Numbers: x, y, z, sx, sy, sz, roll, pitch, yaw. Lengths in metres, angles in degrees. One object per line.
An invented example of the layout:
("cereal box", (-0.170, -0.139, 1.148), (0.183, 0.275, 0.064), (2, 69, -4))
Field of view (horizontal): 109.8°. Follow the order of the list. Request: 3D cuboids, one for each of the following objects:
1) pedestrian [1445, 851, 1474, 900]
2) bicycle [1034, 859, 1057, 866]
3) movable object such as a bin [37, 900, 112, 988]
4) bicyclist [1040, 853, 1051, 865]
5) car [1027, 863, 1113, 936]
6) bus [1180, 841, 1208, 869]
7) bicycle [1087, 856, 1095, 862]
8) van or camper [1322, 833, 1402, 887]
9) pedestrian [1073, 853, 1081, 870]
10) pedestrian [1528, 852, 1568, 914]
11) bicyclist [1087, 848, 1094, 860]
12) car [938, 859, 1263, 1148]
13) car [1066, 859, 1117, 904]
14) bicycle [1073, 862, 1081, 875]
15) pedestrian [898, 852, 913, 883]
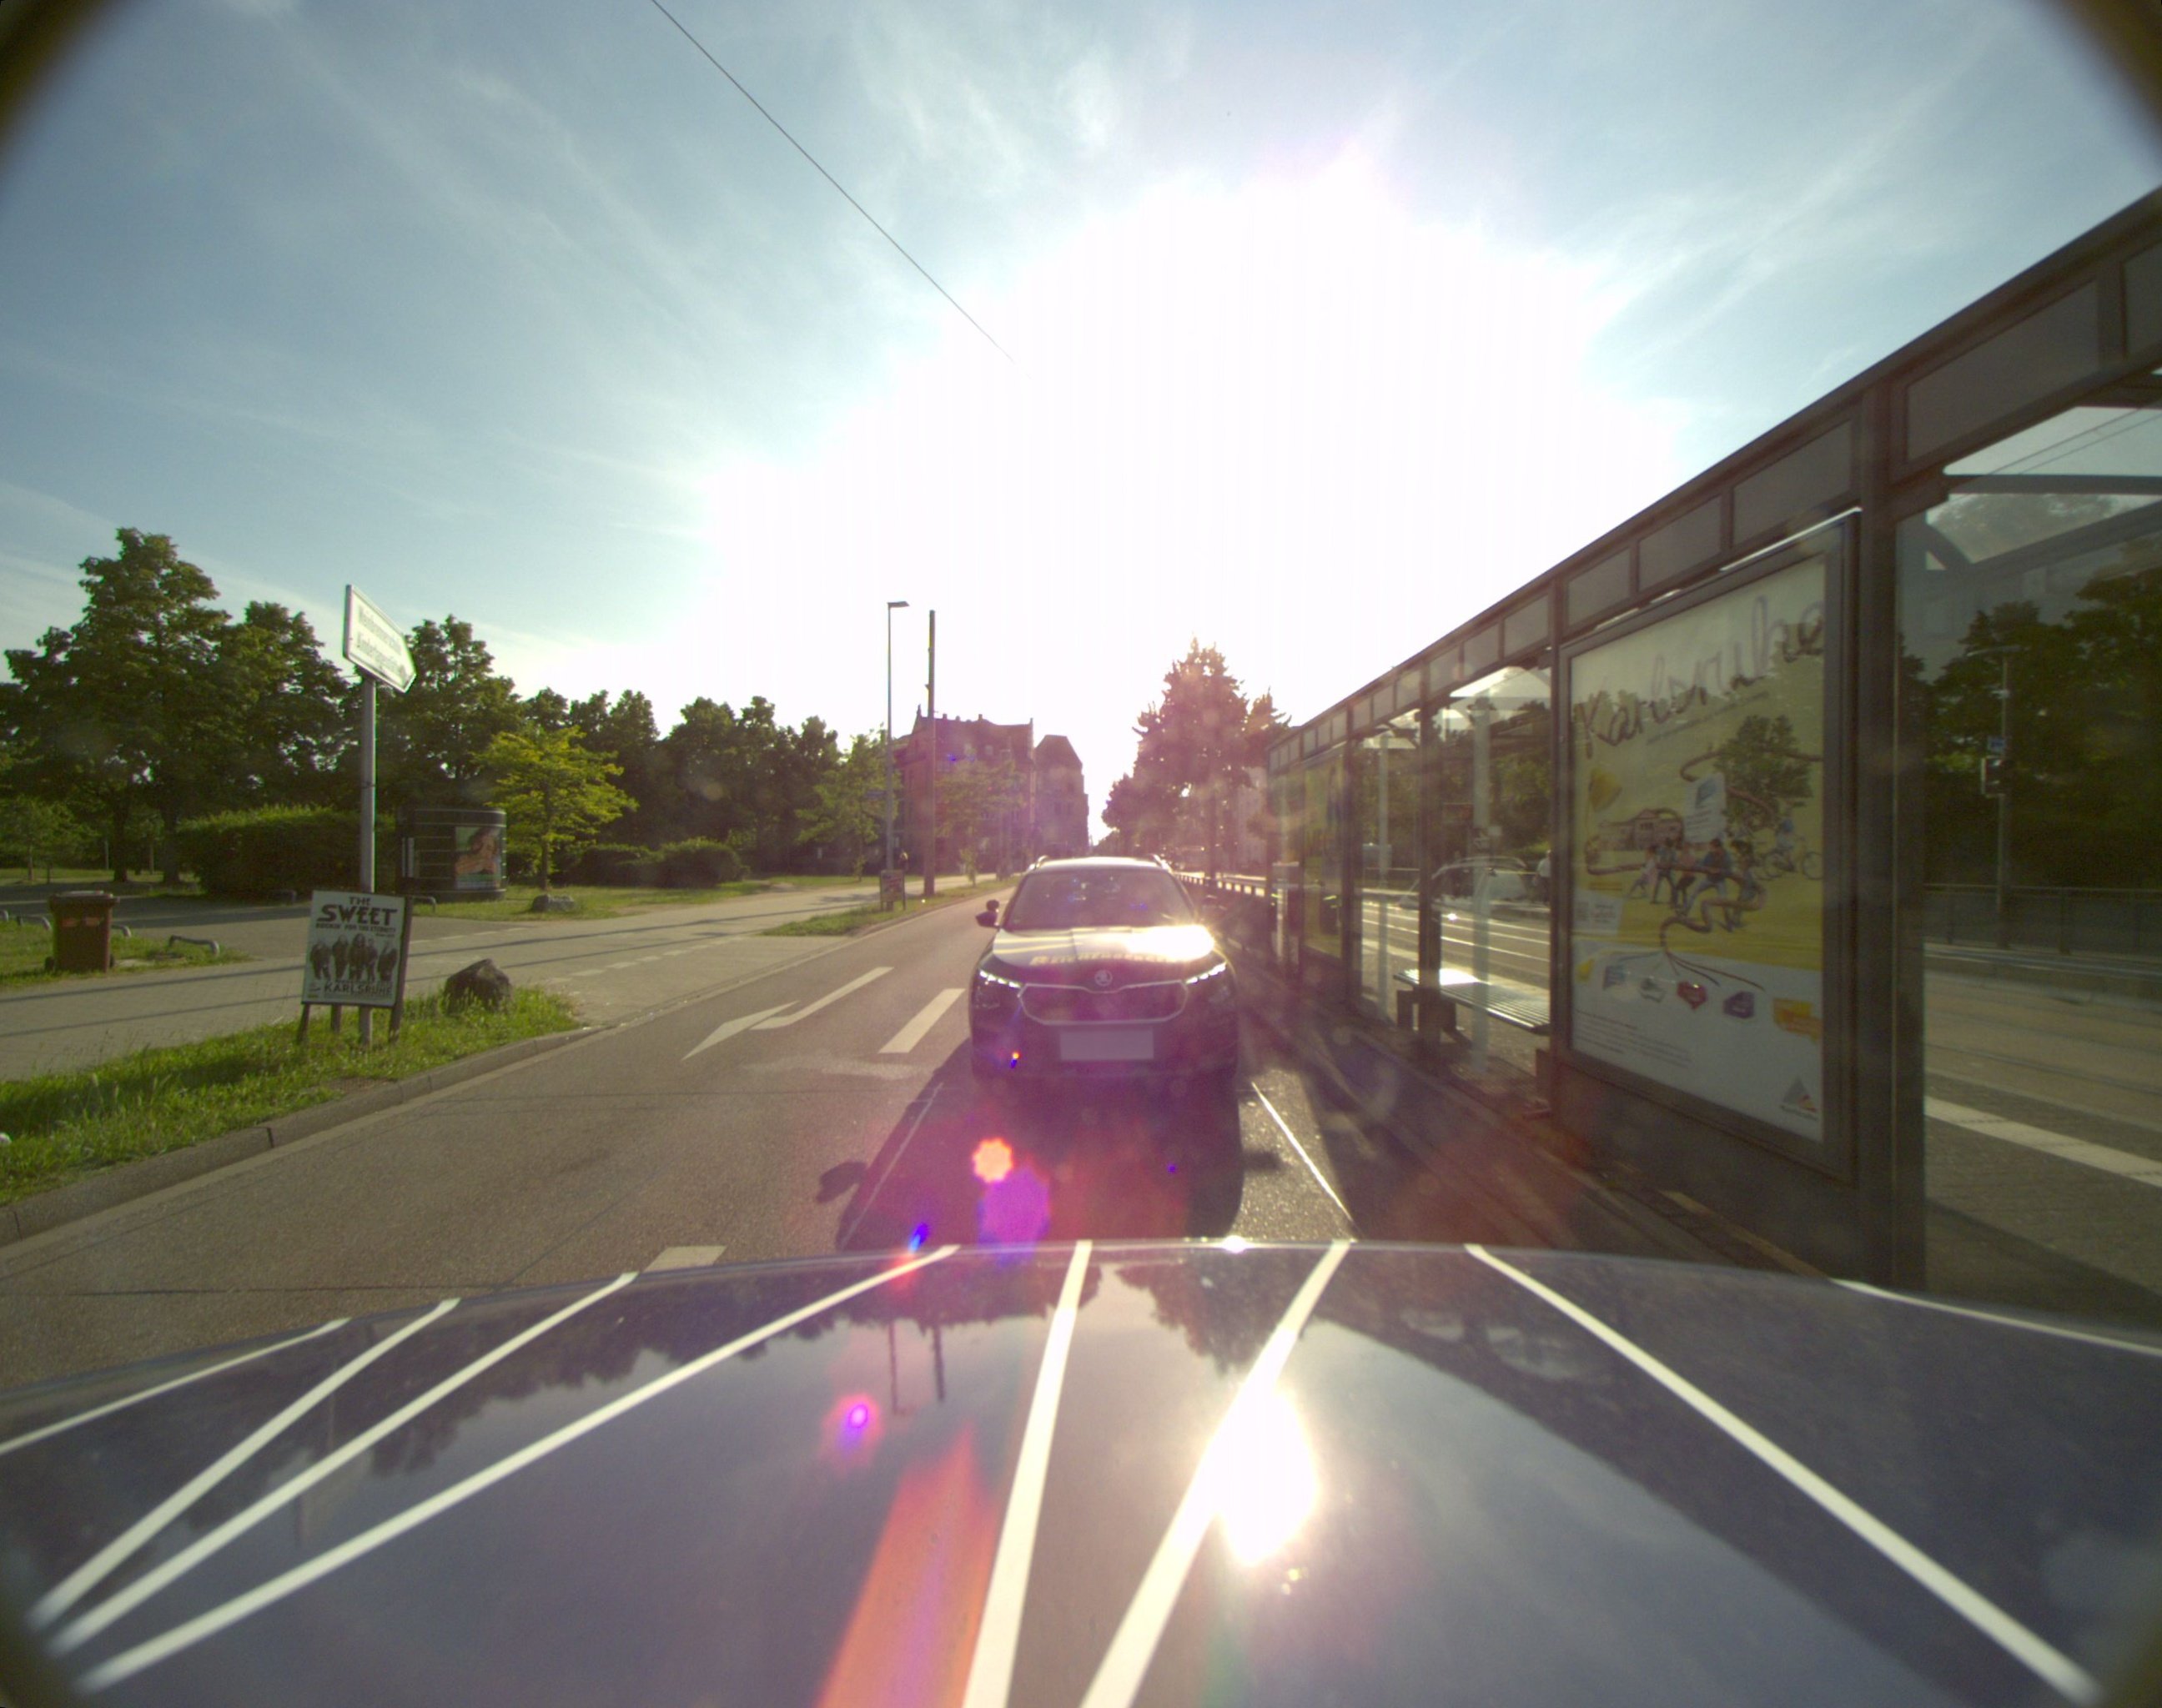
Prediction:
("pedestrian", (13.590, 0.763, 27.276), (0.621, 1.675, 0.618), (3, 1, 1))
("bicycle", (-4.461, 1.072, 95.946), (2.962, 0.974, 0.879), (0, 0, -2))
("movable object such as a bin", (-11.458, 1.006, 8.665), (0.603, 0.912, 0.457), (1, 1, 42))
("bicyclist", (-4.451, 0.585, 95.952), (1.402, 1.538, 0.888), (0, 0, -2))
("car", (-0.199, 0.973, 17.972), (1.756, 1.451, 4.235), (-1, 0, 1))
("bus", (14.874, 0.095, 100.571), (2.437, 3.415, 9.261), (-2, 1, 1))
("bicycle", (1.151, 0.575, 89.840), (0.566, 0.789, 2.043), (0, 0, 12))
("van or camper", (16.923, 0.298, 46.230), (2.527, 2.951, 6.411), (-2, 1, 1))
("pedestrian", (-0.358, 0.663, 67.967), (0.637, 1.512, 0.844), (-2, 1, -3))
("pedestrian", (13.134, 0.800, 21.387), (0.621, 1.675, 0.618), (3, 1, 1))
("bicyclist", (1.133, -0.027, 89.815), (0.688, 1.445, 1.112), (0, 0, 12))
("car", (0.136, 0.840, 6.302), (1.756, 1.534, 4.235), (-1, 0, 1))
("car", (0.415, 0.970, 28.810), (1.756, 1.534, 4.235), (-1, 0, 1))
("bicycle", (-0.372, 1.292, 67.885), (0.652, 1.040, 1.979), (-2, 1, -3))
("pedestrian", (-9.675, 0.759, 41.899), (0.621, 1.675, 0.618), (-1, 0, 1))
